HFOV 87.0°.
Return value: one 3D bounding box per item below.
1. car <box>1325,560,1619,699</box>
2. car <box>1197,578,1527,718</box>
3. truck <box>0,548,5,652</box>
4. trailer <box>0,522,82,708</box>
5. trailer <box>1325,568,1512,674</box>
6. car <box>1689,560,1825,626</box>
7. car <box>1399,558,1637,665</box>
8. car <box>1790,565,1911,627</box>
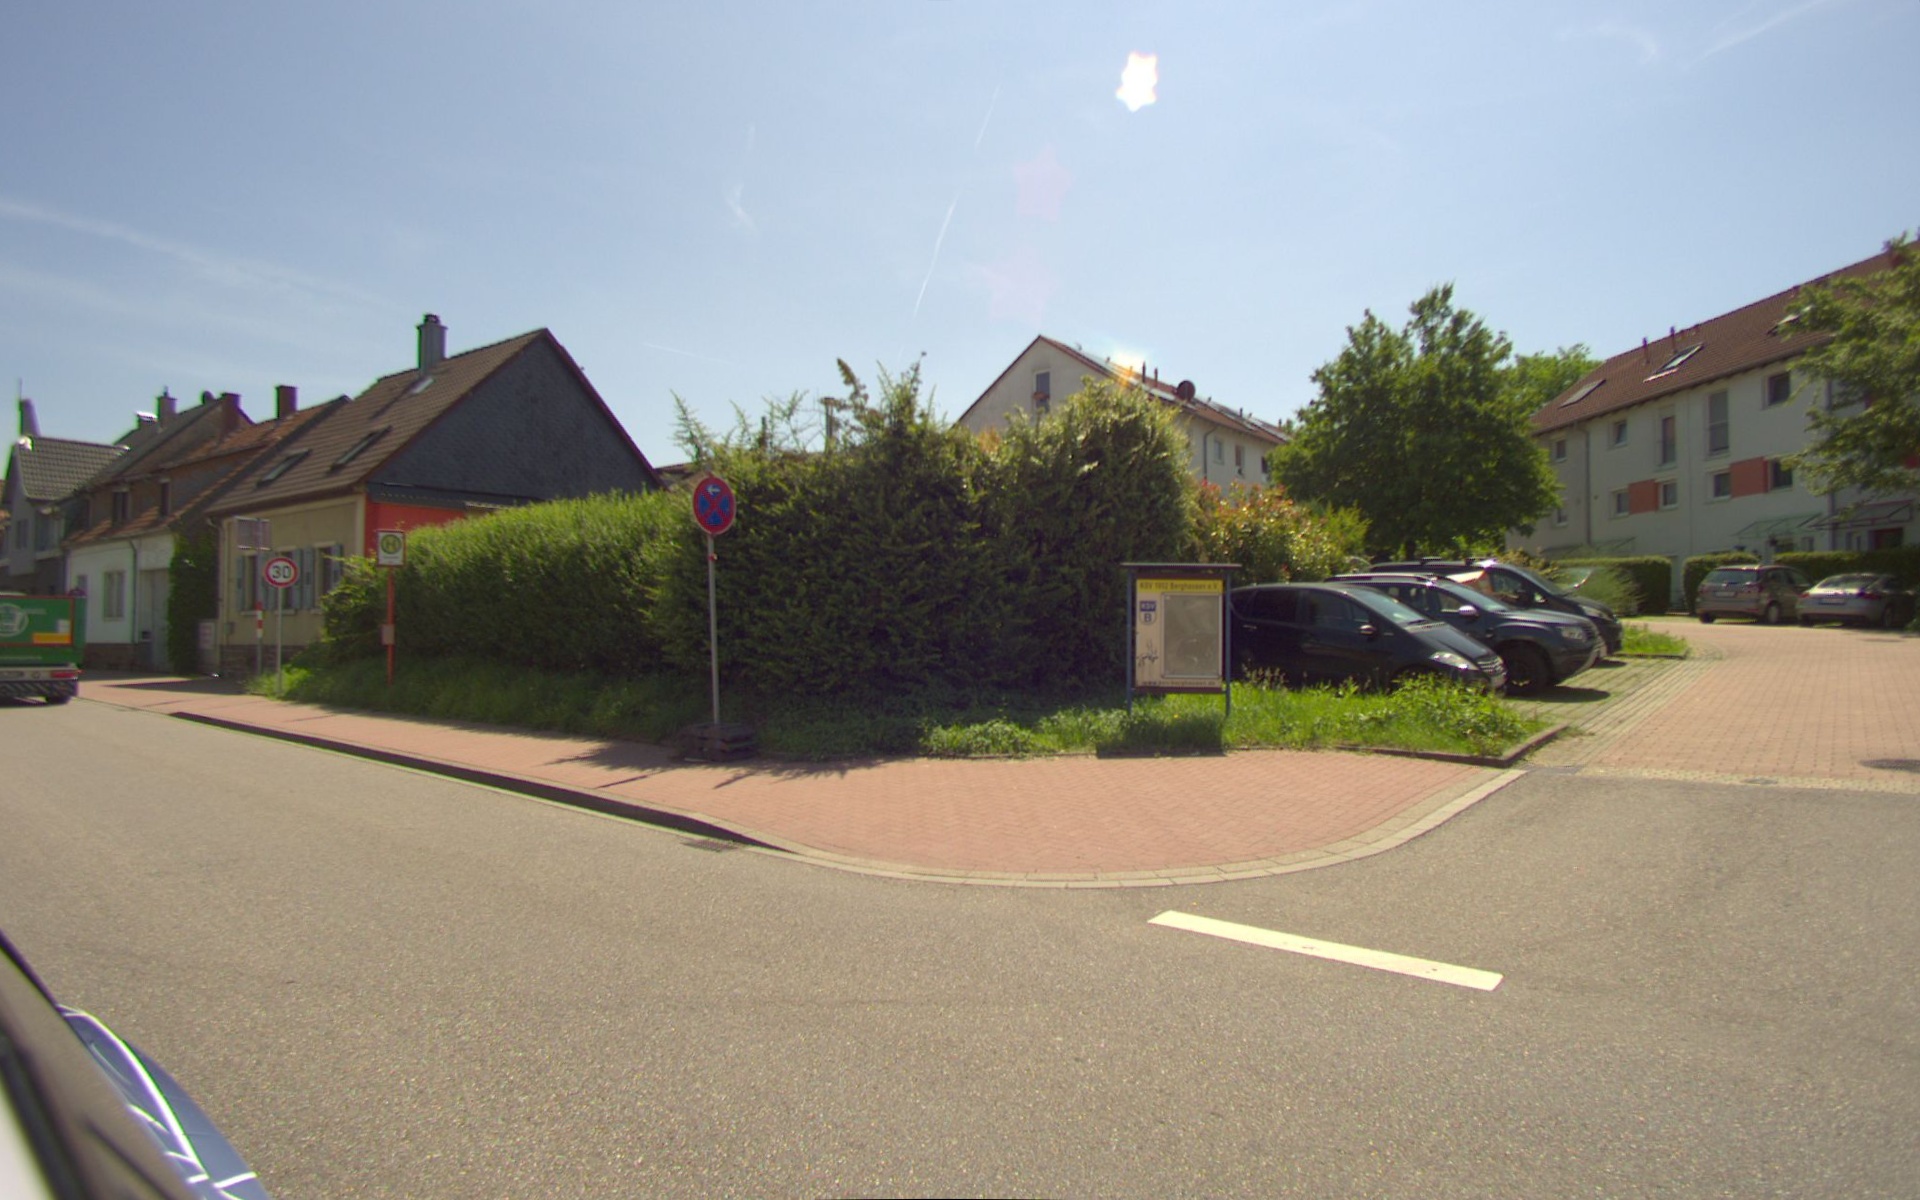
[{"bbox_3d":[7.438,0.388,14.880,3.511,1.793,1.605,-1,1,44],"label":"car"},{"bbox_3d":[5.150,0.556,13.251,3.653,1.552,1.605,-1,1,44],"label":"car"},{"bbox_3d":[-29.531,0.588,28.410,10.066,3.729,2.542,-2,-3,39],"label":"truck"},{"bbox_3d":[-22.254,0.400,22.682,8.454,3.677,2.504,-2,-3,40],"label":"trailer"},{"bbox_3d":[7.991,0.353,17.680,2.688,1.676,1.413,-2,2,37],"label":"trailer"},{"bbox_3d":[21.636,-0.225,27.438,3.933,1.635,1.754,-2,1,-33],"label":"car"},{"bbox_3d":[10.309,0.205,18.836,3.552,1.794,1.605,-1,1,44],"label":"car"},{"bbox_3d":[22.351,-0.128,25.366,3.937,1.439,1.695,-2,0,-40],"label":"car"}]
